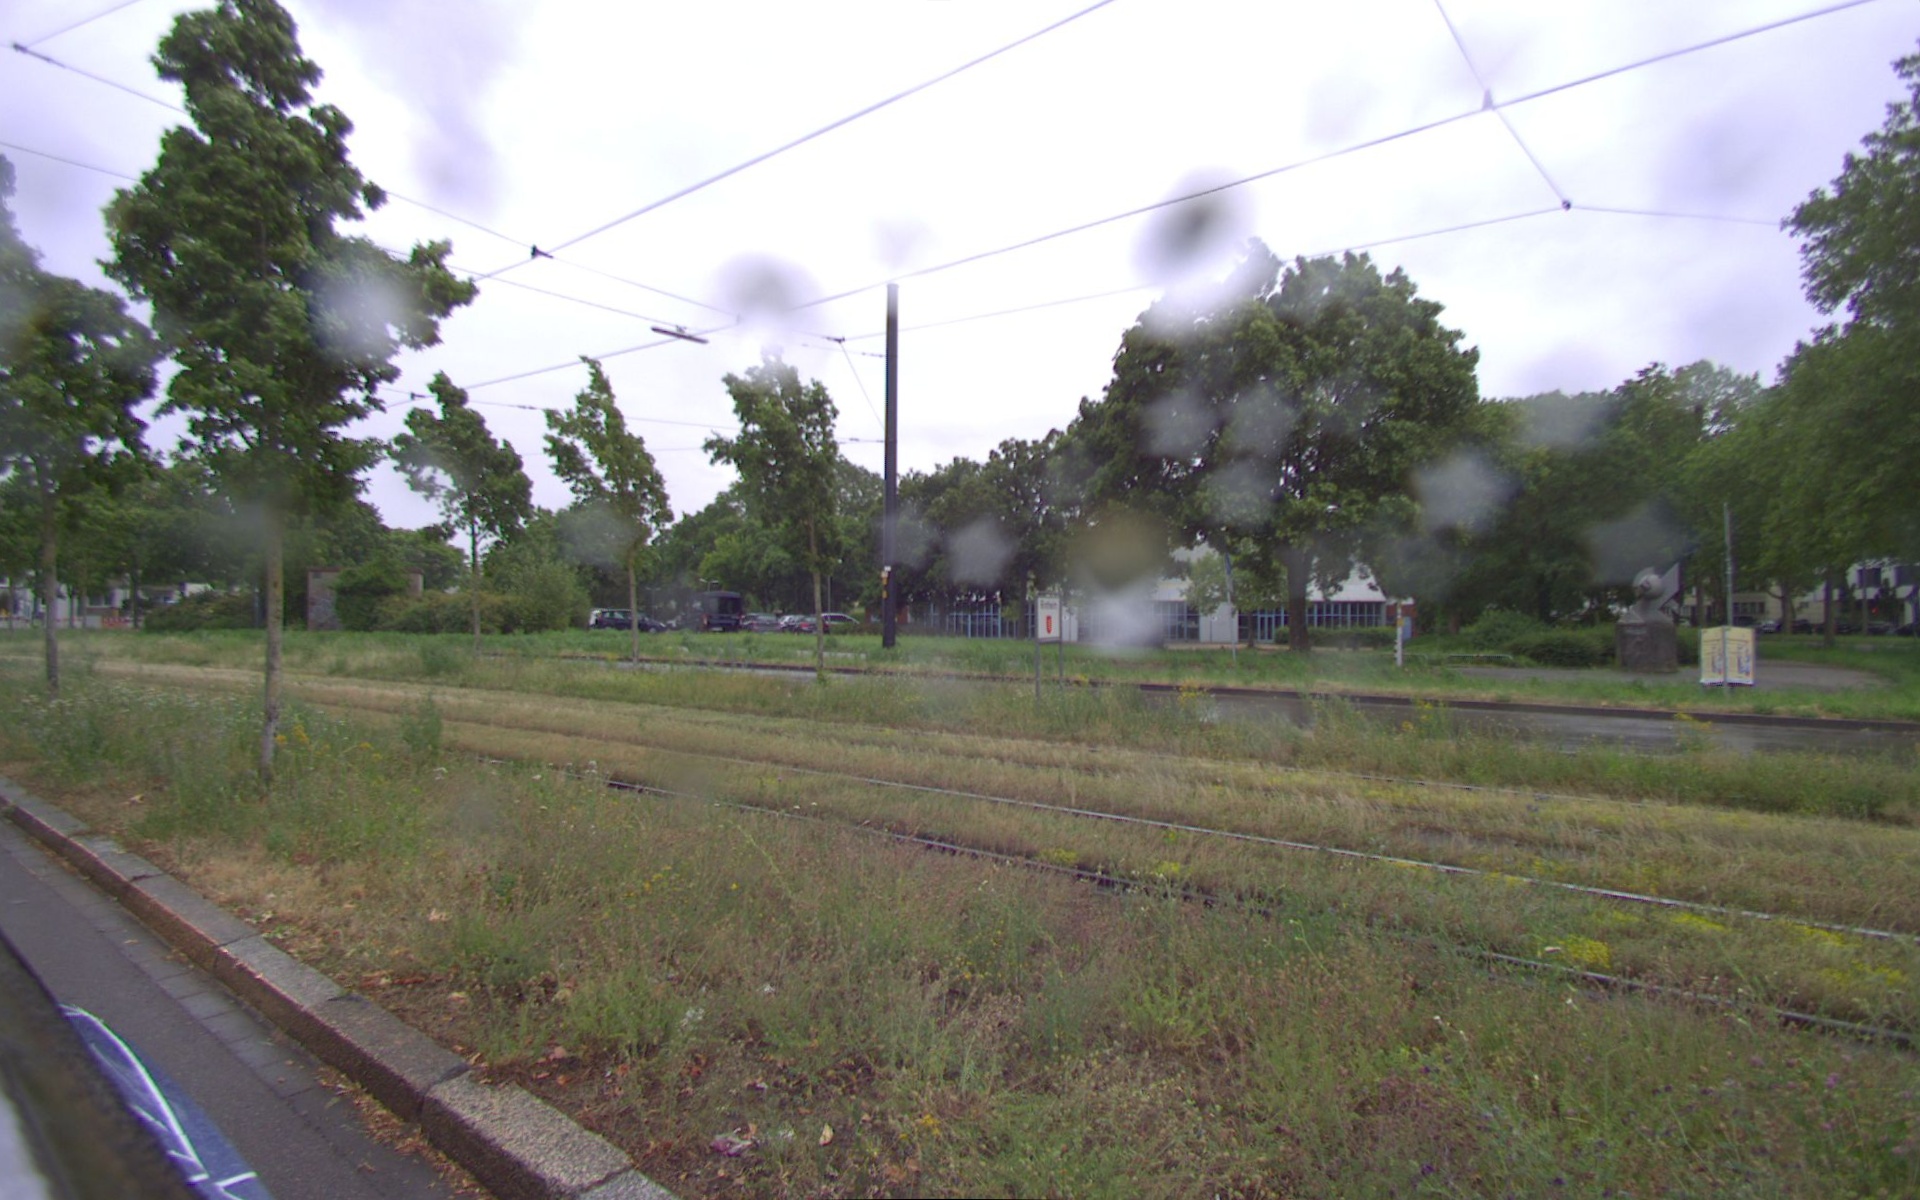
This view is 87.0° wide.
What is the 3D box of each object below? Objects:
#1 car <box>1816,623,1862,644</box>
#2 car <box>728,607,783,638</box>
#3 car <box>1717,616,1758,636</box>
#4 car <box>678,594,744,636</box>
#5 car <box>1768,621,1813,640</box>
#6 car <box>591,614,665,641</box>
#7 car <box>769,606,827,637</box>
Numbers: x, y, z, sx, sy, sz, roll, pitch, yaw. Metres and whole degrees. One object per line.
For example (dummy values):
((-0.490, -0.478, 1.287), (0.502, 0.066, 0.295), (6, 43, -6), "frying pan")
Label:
((81.654, 3.131, 94.063), (1.986, 1.796, 3.972), (-1, 0, 21), "car")
((-10.917, 1.143, 53.712), (1.726, 1.542, 4.865), (-1, 0, -25), "car")
((86.323, 2.864, 112.460), (2.108, 2.104, 3.982), (-1, 0, 14), "car")
((-12.834, 0.723, 51.939), (2.273, 2.029, 5.134), (-1, 0, -25), "car")
((82.974, 3.053, 101.161), (1.982, 1.796, 3.979), (-1, 0, 16), "car")
((-20.335, 1.667, 61.977), (4.110, 1.494, 1.789), (-1, 0, -23), "car")
((-8.768, 1.117, 54.427), (2.026, 1.584, 5.032), (-1, 0, -21), "car")
